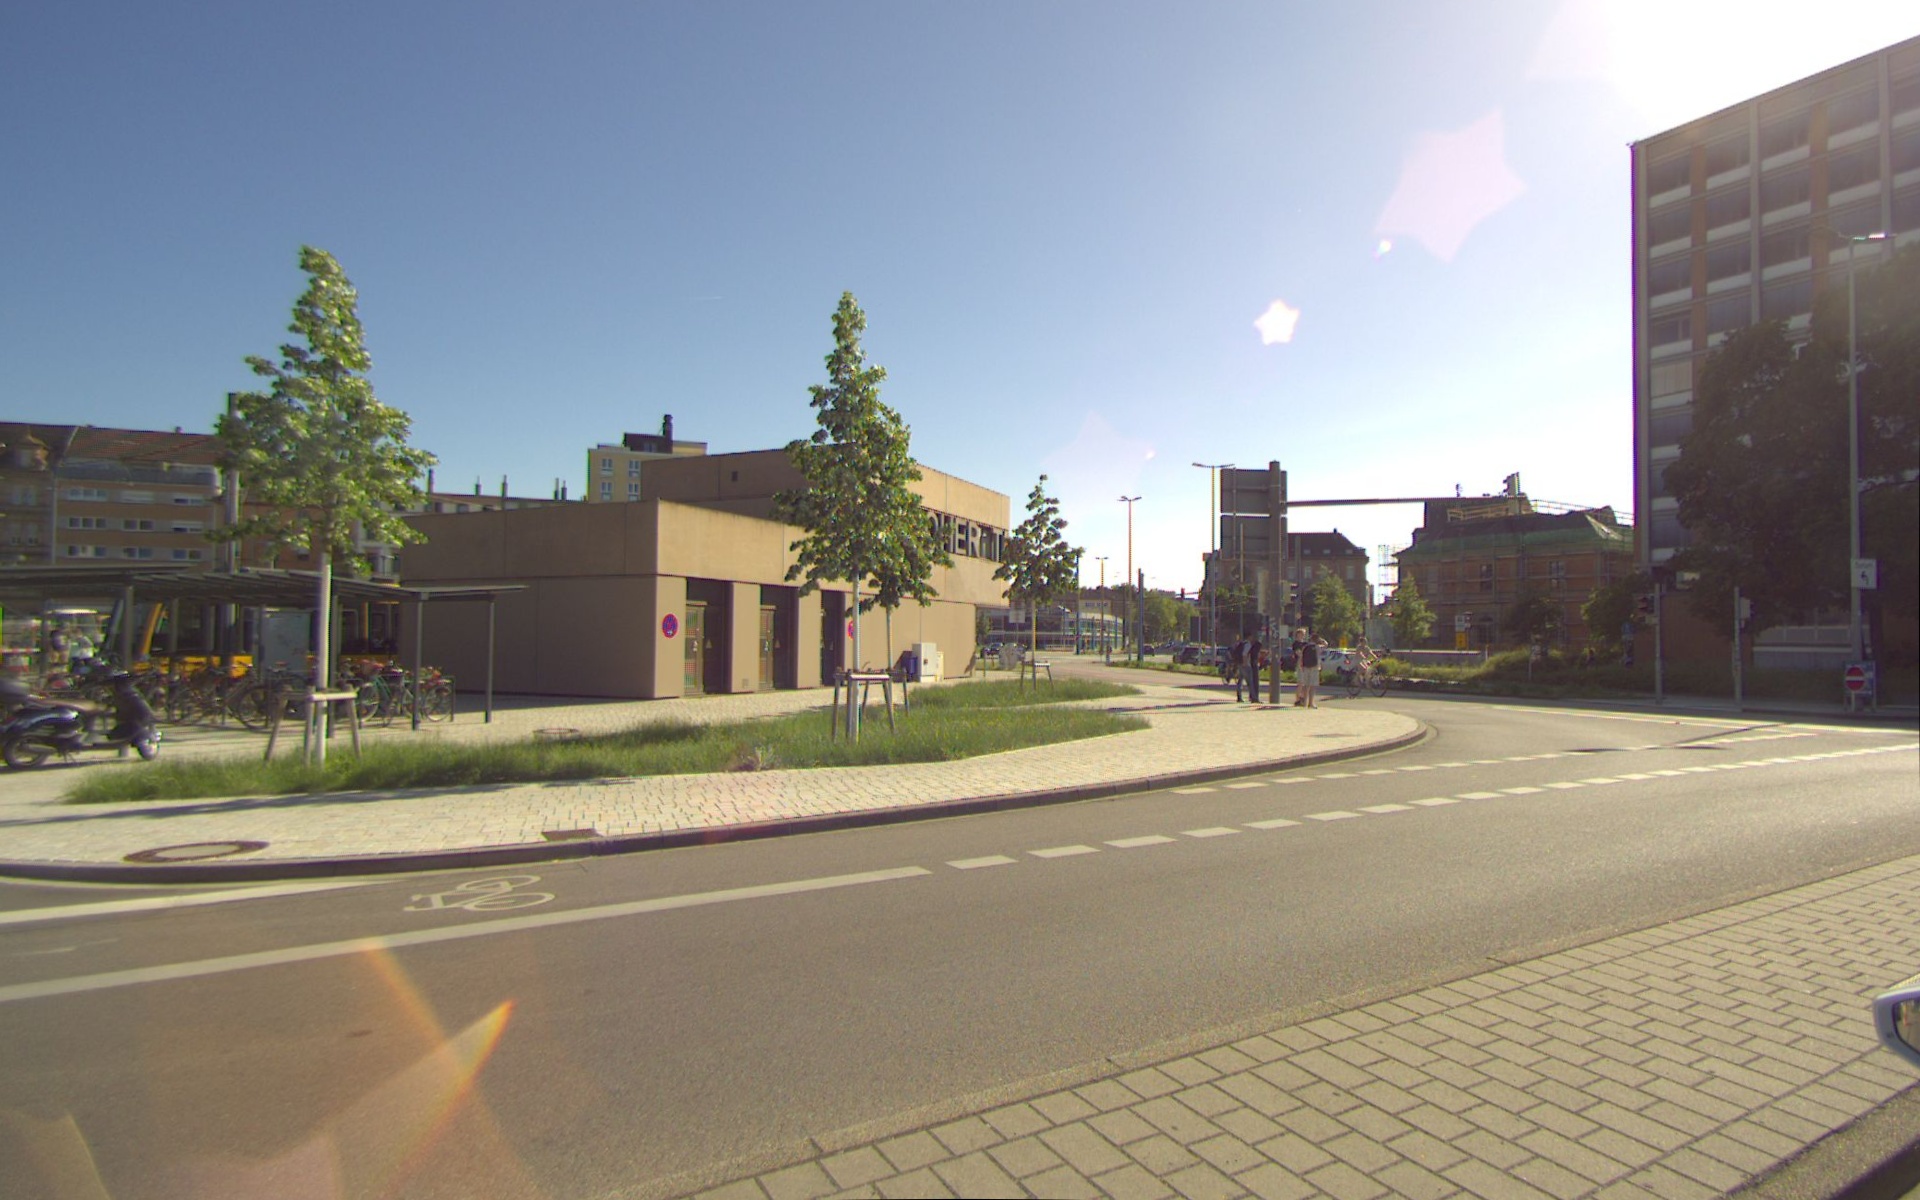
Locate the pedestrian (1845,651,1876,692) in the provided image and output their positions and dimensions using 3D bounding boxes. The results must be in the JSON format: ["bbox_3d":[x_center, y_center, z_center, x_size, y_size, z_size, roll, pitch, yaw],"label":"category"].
[{"bbox_3d":[36.573,2.893,40.801,0.588,1.624,0.738,1,-2,-13],"label":"pedestrian"}]

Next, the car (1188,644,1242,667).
[{"bbox_3d":[17.280,3.754,68.326,1.810,1.406,4.895,1,-2,-8],"label":"car"}]

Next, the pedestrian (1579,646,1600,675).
[{"bbox_3d":[34.572,3.317,55.193,0.549,1.592,0.862,1,-2,-8],"label":"pedestrian"}]

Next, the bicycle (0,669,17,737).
[{"bbox_3d":[-14.709,1.539,14.427,0.399,0.985,1.683,2,0,22],"label":"bicycle"}]

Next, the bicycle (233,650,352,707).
[{"bbox_3d":[-13.908,1.612,20.995,0.524,1.051,2.070,2,0,26],"label":"bicycle"}]

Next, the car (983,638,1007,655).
[{"bbox_3d":[4.394,5.839,125.473,1.960,2.040,4.001,0,-2,19],"label":"car"}]

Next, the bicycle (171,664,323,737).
[{"bbox_3d":[-11.938,1.652,16.896,0.524,1.051,2.070,2,0,26],"label":"bicycle"}]

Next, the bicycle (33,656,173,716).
[{"bbox_3d":[-16.874,1.675,19.851,0.524,1.051,2.070,-2,-2,26],"label":"bicycle"}]

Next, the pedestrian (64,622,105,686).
[{"bbox_3d":[-28.501,1.746,32.706,0.526,2.040,0.803,0,-2,23],"label":"pedestrian"}]

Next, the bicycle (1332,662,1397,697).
[{"bbox_3d":[11.939,2.344,29.707,0.729,1.008,1.985,1,-4,-15],"label":"bicycle"}]

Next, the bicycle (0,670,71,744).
[{"bbox_3d":[-13.687,1.529,14.176,0.399,0.985,1.683,2,0,22],"label":"bicycle"}]

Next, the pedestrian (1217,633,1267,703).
[{"bbox_3d":[7.157,1.728,25.465,0.831,1.711,0.896,5,-5,-34],"label":"pedestrian"}]

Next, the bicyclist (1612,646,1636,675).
[{"bbox_3d":[33.902,3.081,51.281,0.587,1.448,0.939,1,-2,-4],"label":"bicyclist"}]

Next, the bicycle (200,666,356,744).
[{"bbox_3d":[-10.894,1.647,16.135,0.524,1.051,2.070,2,0,26],"label":"bicycle"}]

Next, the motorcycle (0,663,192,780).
[{"bbox_3d":[-10.840,1.445,12.478,0.558,1.235,2.087,0,-1,21],"label":"motorcycle"}]

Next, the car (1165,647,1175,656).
[{"bbox_3d":[49.781,12.103,237.895,1.959,2.040,4.003,0,-2,7],"label":"car"}]

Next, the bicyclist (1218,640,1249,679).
[{"bbox_3d":[10.394,2.271,38.252,0.675,1.440,1.125,1,-4,-14],"label":"bicyclist"}]

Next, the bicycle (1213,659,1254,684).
[{"bbox_3d":[10.389,2.703,38.226,0.675,0.930,1.986,1,-4,-13],"label":"bicycle"}]

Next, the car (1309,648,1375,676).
[{"bbox_3d":[21.241,3.430,55.965,1.711,1.454,3.843,1,-2,-10],"label":"car"}]

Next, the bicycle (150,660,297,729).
[{"bbox_3d":[-12.889,1.627,17.659,0.524,1.051,2.070,2,0,26],"label":"bicycle"}]

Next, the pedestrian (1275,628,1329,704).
[{"bbox_3d":[8.430,1.635,24.778,1.081,1.822,0.705,1,-4,1],"label":"pedestrian"}]

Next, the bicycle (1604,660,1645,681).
[{"bbox_3d":[33.896,3.571,51.271,0.587,0.976,2.082,1,-2,-4],"label":"bicycle"}]

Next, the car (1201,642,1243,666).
[{"bbox_3d":[19.630,4.023,75.506,1.809,1.653,4.386,1,-2,-4],"label":"car"}]

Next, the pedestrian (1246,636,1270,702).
[{"bbox_3d":[8.017,1.846,27.063,0.585,1.751,0.580,0,-2,14],"label":"pedestrian"}]

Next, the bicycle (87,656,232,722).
[{"bbox_3d":[-15.008,1.638,18.907,0.524,1.051,2.070,5,1,26],"label":"bicycle"}]

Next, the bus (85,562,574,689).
[{"bbox_3d":[-18.374,0.872,31.467,2.810,3.112,13.620,0,-2,25],"label":"bus"}]

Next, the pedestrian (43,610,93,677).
[{"bbox_3d":[-26.025,1.262,29.323,0.755,1.942,0.803,0,-2,23],"label":"pedestrian"}]

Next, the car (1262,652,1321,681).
[{"bbox_3d":[20.710,4.123,62.889,1.810,1.653,4.382,1,-2,-8],"label":"car"}]

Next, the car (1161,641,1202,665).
[{"bbox_3d":[16.533,3.927,75.125,1.809,1.653,4.386,1,-2,-4],"label":"car"}]

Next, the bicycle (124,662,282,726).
[{"bbox_3d":[-13.700,1.675,18.263,0.673,0.956,2.233,2,0,25],"label":"bicycle"}]

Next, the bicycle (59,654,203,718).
[{"bbox_3d":[-15.893,1.621,19.322,0.524,1.051,2.070,5,1,26],"label":"bicycle"}]

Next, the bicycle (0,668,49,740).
[{"bbox_3d":[-14.191,1.523,14.377,0.399,0.985,1.683,2,0,22],"label":"bicycle"}]

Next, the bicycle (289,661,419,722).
[{"bbox_3d":[-11.754,1.752,19.574,0.679,1.011,2.140,2,0,26],"label":"bicycle"}]

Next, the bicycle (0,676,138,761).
[{"bbox_3d":[-12.193,1.572,13.580,0.399,0.985,1.683,2,0,22],"label":"bicycle"}]

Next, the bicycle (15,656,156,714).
[{"bbox_3d":[-17.762,1.695,20.459,0.524,1.051,2.070,5,0,26],"label":"bicycle"}]

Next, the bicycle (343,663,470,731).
[{"bbox_3d":[-9.958,1.718,18.163,0.524,1.051,2.070,2,0,26],"label":"bicycle"}]

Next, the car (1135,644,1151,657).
[{"bbox_3d":[24.092,6.620,132.318,1.807,1.653,4.390,0,-2,6],"label":"car"}]

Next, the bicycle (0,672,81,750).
[{"bbox_3d":[-13.221,1.542,13.815,0.399,0.985,1.683,2,0,22],"label":"bicycle"}]

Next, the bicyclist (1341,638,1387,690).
[{"bbox_3d":[11.948,1.902,29.730,0.729,1.519,1.069,1,-4,-16],"label":"bicyclist"}]

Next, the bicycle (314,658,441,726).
[{"bbox_3d":[-10.788,1.680,18.701,0.594,1.093,2.053,2,0,25],"label":"bicycle"}]

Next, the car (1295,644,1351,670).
[{"bbox_3d":[25.937,4.049,71.915,1.809,1.653,4.836,1,-2,-6],"label":"car"}]

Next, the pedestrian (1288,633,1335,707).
[{"bbox_3d":[8.409,1.683,24.039,0.775,1.711,0.794,2,-5,-11],"label":"pedestrian"}]

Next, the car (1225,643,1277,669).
[{"bbox_3d":[20.050,3.829,69.433,1.810,1.653,4.382,1,-2,-8],"label":"car"}]
